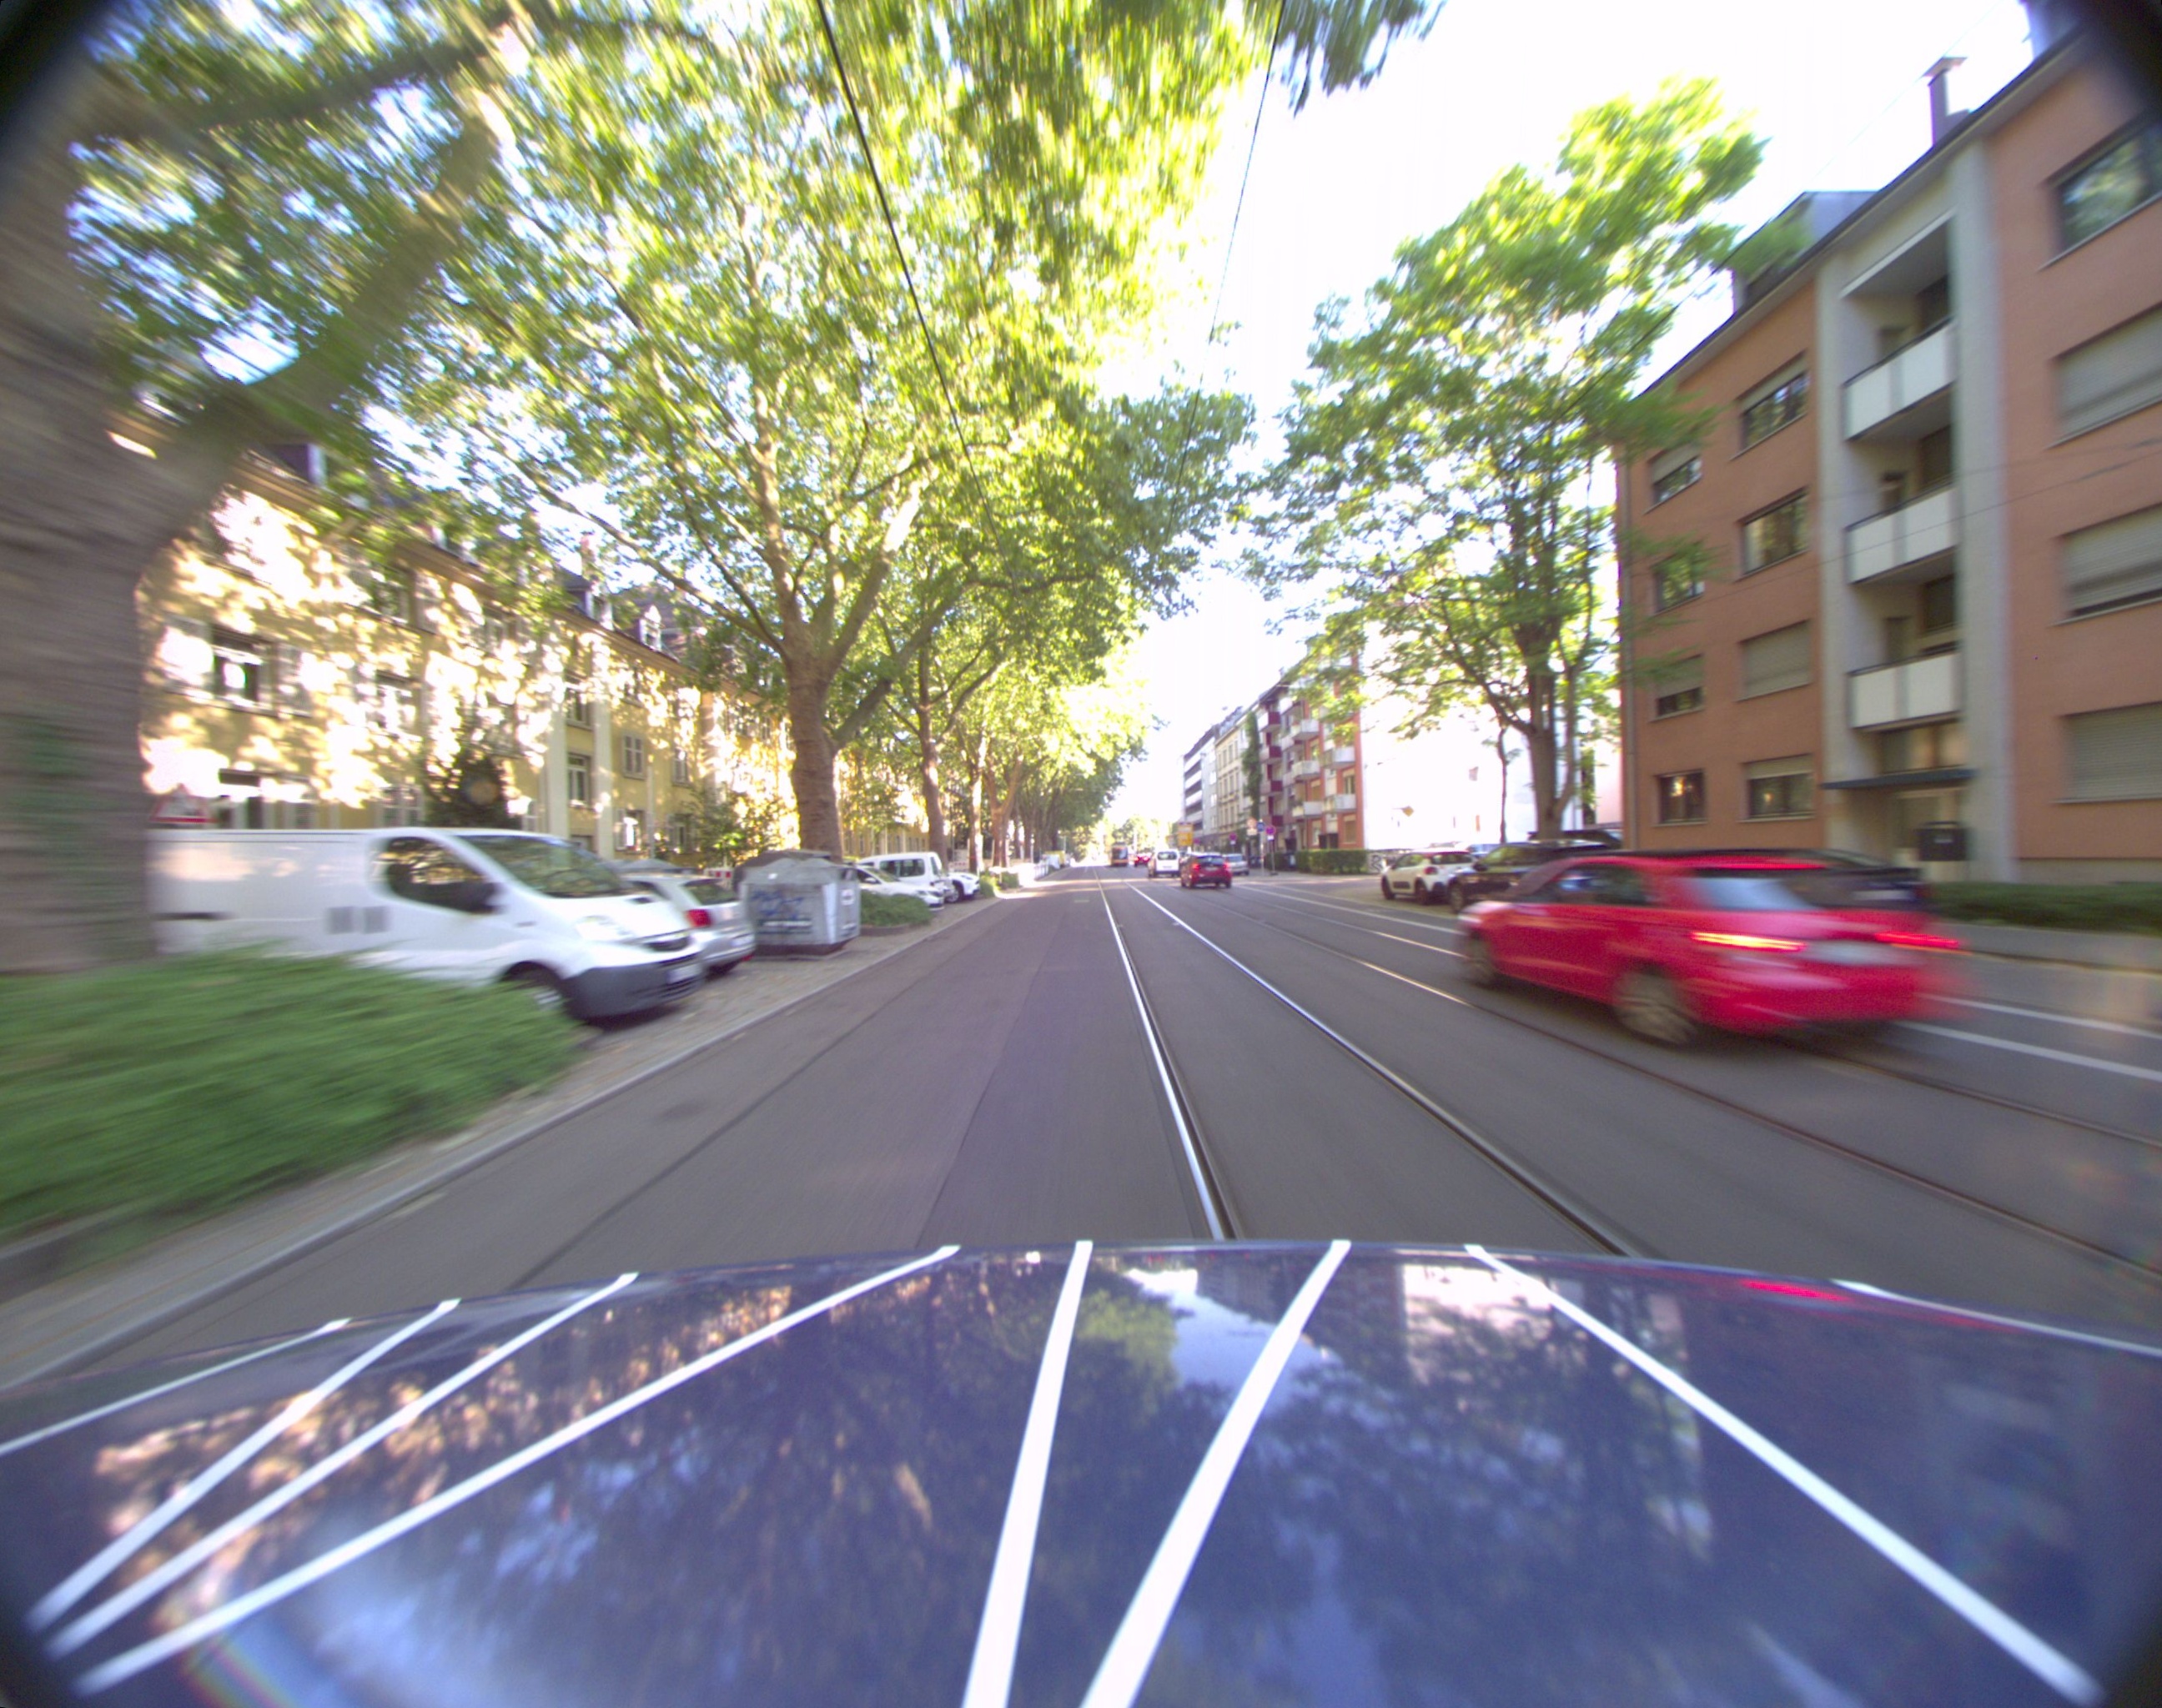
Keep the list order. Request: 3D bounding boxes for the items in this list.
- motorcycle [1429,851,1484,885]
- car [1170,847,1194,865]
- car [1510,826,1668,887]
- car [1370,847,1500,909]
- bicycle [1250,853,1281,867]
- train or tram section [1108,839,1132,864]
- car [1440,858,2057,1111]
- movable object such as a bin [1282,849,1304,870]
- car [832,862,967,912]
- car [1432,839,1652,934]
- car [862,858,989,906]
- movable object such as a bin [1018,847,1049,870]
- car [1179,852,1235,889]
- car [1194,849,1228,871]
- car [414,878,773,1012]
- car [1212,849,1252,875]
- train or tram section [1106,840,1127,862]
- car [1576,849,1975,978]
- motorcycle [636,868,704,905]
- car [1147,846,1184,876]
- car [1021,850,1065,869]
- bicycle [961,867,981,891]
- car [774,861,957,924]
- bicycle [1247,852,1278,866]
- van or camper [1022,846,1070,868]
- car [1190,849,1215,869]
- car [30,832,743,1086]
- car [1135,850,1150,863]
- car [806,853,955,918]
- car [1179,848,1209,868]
[{"bbox_3d":[14.502,0.564,29.418,0.904,1.273,2.349,-1,-2,-1],"label":"motorcycle"},{"bbox_3d":[10.817,0.203,81.559,1.793,1.760,4.470,-3,0,-2],"label":"car"},{"bbox_3d":[19.650,0.090,29.666,2.003,2.111,4.713,-3,1,-27],"label":"car"},{"bbox_3d":[9.882,0.605,21.588,1.810,1.469,4.090,-4,0,2],"label":"car"},{"bbox_3d":[15.207,0.465,62.617,2.295,0.987,0.699,-4,1,-2],"label":"bicycle"},{"bbox_3d":[5.612,-0.349,112.675,2.916,3.465,14.198,-2,0,1],"label":"train or tram section"},{"bbox_3d":[4.876,0.779,6.491,1.727,1.428,4.069,-1,0,1],"label":"car"},{"bbox_3d":[13.970,0.337,50.078,1.214,1.357,0.747,-1,1,2],"label":"movable object such as a bin"},{"bbox_3d":[-5.848,1.046,24.793,3.852,1.424,1.852,-2,0,5],"label":"car"},{"bbox_3d":[9.473,0.587,16.168,1.785,1.601,4.587,-5,0,0],"label":"car"},{"bbox_3d":[-5.458,0.967,27.105,4.098,1.512,1.916,-2,1,0],"label":"car"},{"bbox_3d":[-4.865,0.483,78.121,1.482,2.256,3.283,-2,0,34],"label":"movable object such as a bin"},{"bbox_3d":[5.402,0.670,33.113,1.780,1.449,4.202,-1,0,1],"label":"car"},{"bbox_3d":[10.293,0.460,60.334,1.824,1.577,4.005,-3,0,-1],"label":"car"},{"bbox_3d":[-6.158,1.112,9.930,3.535,1.438,1.672,-2,1,-2],"label":"car"},{"bbox_3d":[9.860,0.504,49.901,1.729,1.474,3.930,-4,0,0],"label":"car"},{"bbox_3d":[5.783,-0.476,126.507,2.916,3.465,13.369,-2,0,1],"label":"train or tram section"},{"bbox_3d":[9.572,0.693,11.095,1.742,1.392,4.382,-4,0,0],"label":"car"},{"bbox_3d":[-14.797,1.151,27.398,1.995,1.243,0.713,-2,1,0],"label":"motorcycle"},{"bbox_3d":[5.501,0.438,49.931,1.896,1.821,4.895,-2,0,1],"label":"car"},{"bbox_3d":[-4.386,0.633,88.283,4.847,2.001,2.063,-1,0,1],"label":"car"},{"bbox_3d":[-5.180,1.173,35.810,0.637,1.064,1.809,-2,0,1],"label":"bicycle"},{"bbox_3d":[-5.771,1.024,20.665,4.380,1.533,1.802,-2,0,5],"label":"car"},{"bbox_3d":[15.227,0.441,63.767,2.457,1.056,0.699,-3,1,-2],"label":"bicycle"},{"bbox_3d":[-4.521,0.357,97.869,5.939,2.614,2.270,-1,1,3],"label":"van or camper"},{"bbox_3d":[10.405,0.422,65.206,1.630,1.563,3.781,-3,1,2],"label":"car"},{"bbox_3d":[-6.186,0.859,7.337,4.849,1.952,2.064,-2,1,-1],"label":"car"},{"bbox_3d":[8.066,0.282,100.151,1.857,1.591,4.465,-2,0,5],"label":"car"},{"bbox_3d":[-5.942,0.901,22.830,3.852,1.761,1.917,-2,1,5],"label":"car"},{"bbox_3d":[10.466,0.349,70.727,1.957,1.639,4.881,-3,1,0],"label":"car"}]
